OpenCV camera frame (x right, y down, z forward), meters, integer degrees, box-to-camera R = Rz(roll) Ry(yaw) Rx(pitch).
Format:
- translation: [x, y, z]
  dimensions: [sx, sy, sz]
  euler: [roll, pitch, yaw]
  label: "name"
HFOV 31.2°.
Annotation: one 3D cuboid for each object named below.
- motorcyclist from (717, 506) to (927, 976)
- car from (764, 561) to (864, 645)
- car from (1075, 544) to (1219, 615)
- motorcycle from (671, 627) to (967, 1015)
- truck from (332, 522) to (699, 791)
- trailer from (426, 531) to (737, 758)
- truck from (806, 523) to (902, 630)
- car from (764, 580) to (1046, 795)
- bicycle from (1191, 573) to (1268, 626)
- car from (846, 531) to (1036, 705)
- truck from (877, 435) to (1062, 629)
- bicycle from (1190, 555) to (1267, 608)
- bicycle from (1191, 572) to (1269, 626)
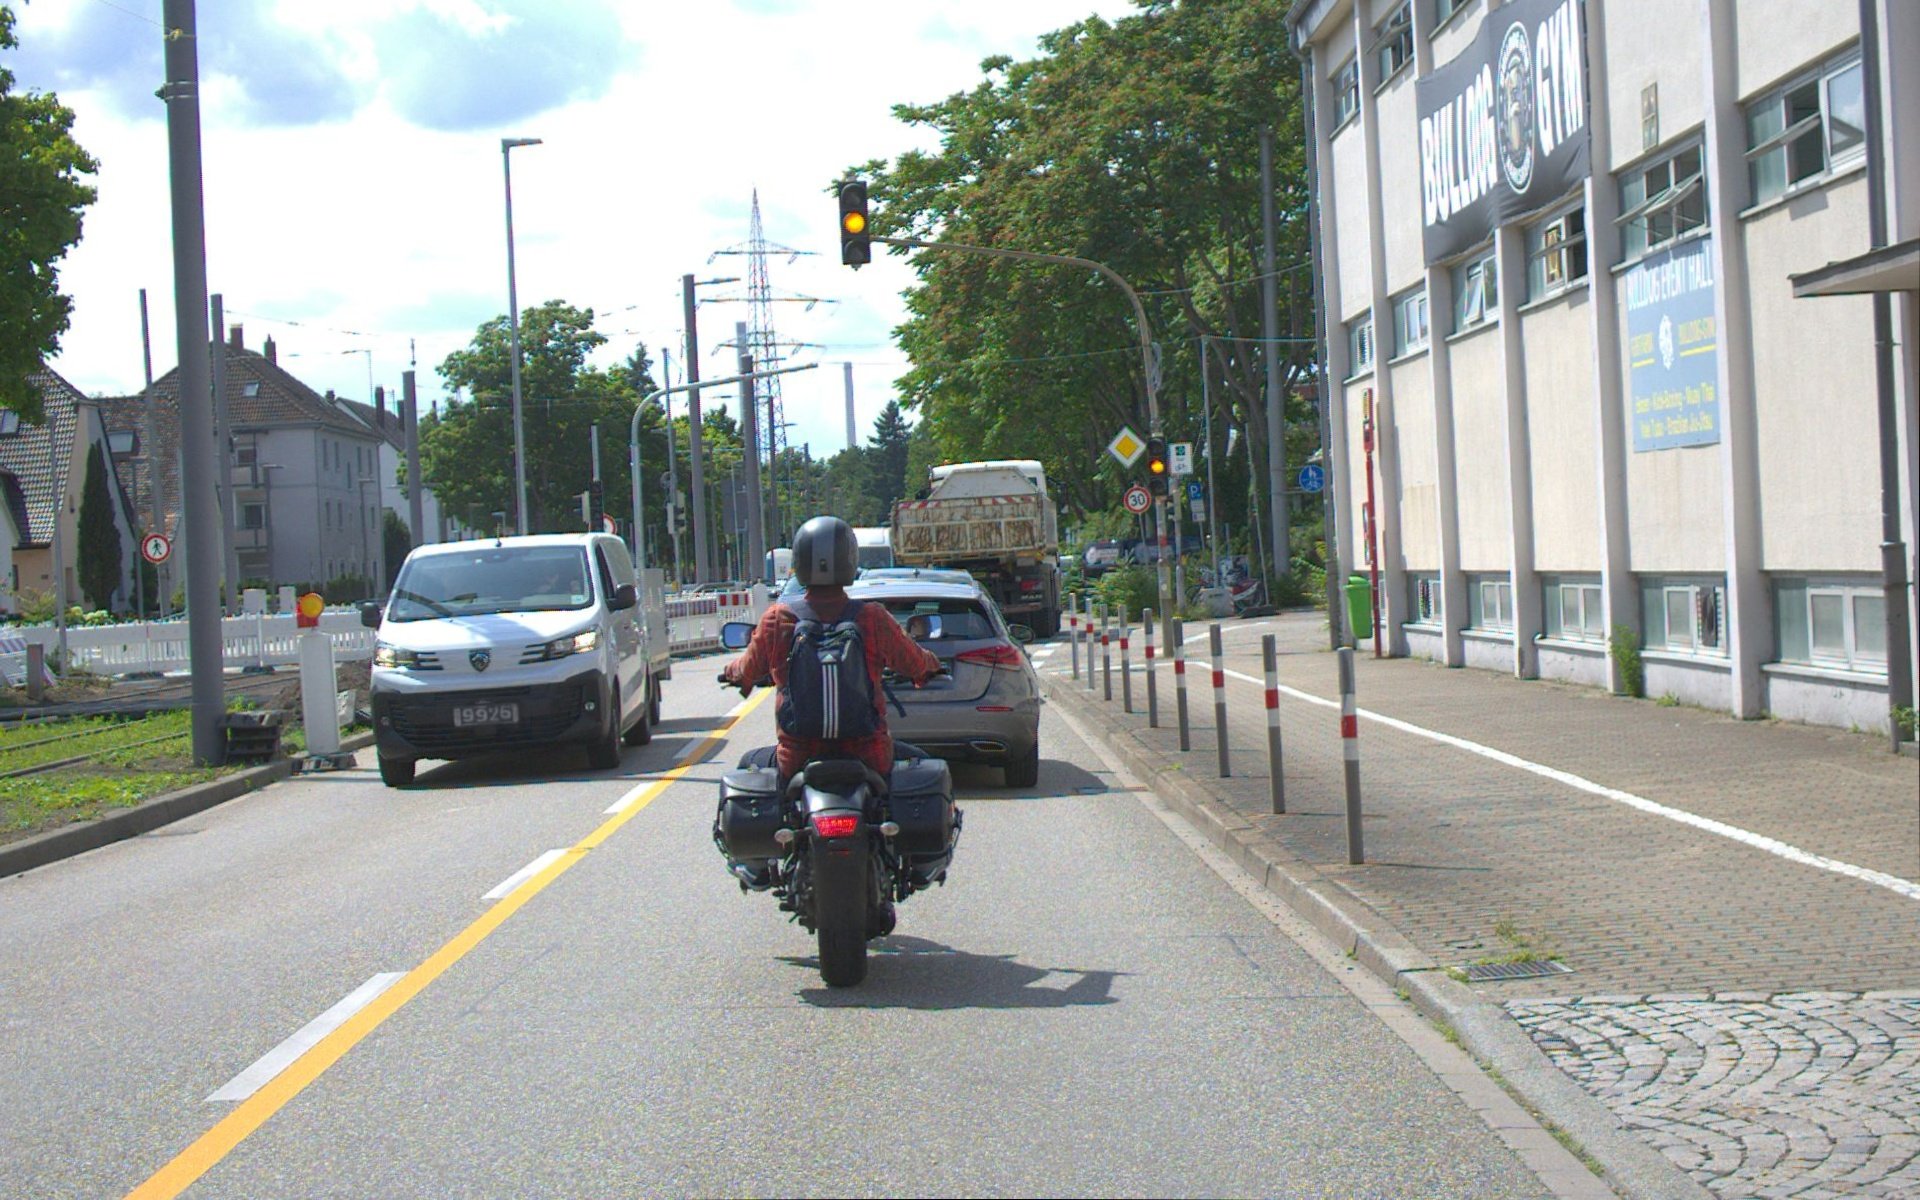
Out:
- translation: [-0.477, 0.482, 12.120]
  dimensions: [0.698, 1.599, 0.692]
  euler: [-1, 0, 0]
  label: "motorcyclist"
- translation: [-2.792, 0.029, 66.291]
  dimensions: [1.645, 1.493, 4.269]
  euler: [-2, 1, 1]
  label: "car"
- translation: [5.253, -0.581, 96.316]
  dimensions: [1.802, 1.919, 3.989]
  euler: [-1, 0, 45]
  label: "car"
- translation: [-0.467, 0.724, 12.335]
  dimensions: [0.942, 1.196, 2.472]
  euler: [-1, 1, -1]
  label: "motorcycle"
- translation: [-3.550, 0.373, 28.479]
  dimensions: [1.820, 1.903, 5.116]
  euler: [-4, 1, 5]
  label: "truck"
- translation: [-3.479, 0.383, 32.716]
  dimensions: [2.062, 1.829, 5.485]
  euler: [-5, 0, 2]
  label: "trailer"
- translation: [-2.674, -0.644, 87.928]
  dimensions: [2.093, 2.468, 5.196]
  euler: [-4, 2, 0]
  label: "truck"
- translation: [-0.477, 0.560, 24.672]
  dimensions: [1.731, 1.399, 4.087]
  euler: [0, 0, -5]
  label: "car"
- translation: [6.012, -0.017, 76.705]
  dimensions: [1.708, 1.168, 0.438]
  euler: [-1, 0, 5]
  label: "bicycle"
- translation: [-0.151, 0.144, 38.673]
  dimensions: [1.901, 1.706, 4.719]
  euler: [-3, 2, 2]
  label: "car"
- translation: [0.277, -1.117, 60.556]
  dimensions: [2.967, 3.162, 7.763]
  euler: [-1, 0, 2]
  label: "truck"
- translation: [6.033, -0.412, 77.248]
  dimensions: [1.708, 1.168, 0.438]
  euler: [-1, 0, 5]
  label: "bicycle"
- translation: [5.990, -0.021, 76.234]
  dimensions: [1.708, 1.168, 0.438]
  euler: [-1, 0, 5]
  label: "bicycle"
